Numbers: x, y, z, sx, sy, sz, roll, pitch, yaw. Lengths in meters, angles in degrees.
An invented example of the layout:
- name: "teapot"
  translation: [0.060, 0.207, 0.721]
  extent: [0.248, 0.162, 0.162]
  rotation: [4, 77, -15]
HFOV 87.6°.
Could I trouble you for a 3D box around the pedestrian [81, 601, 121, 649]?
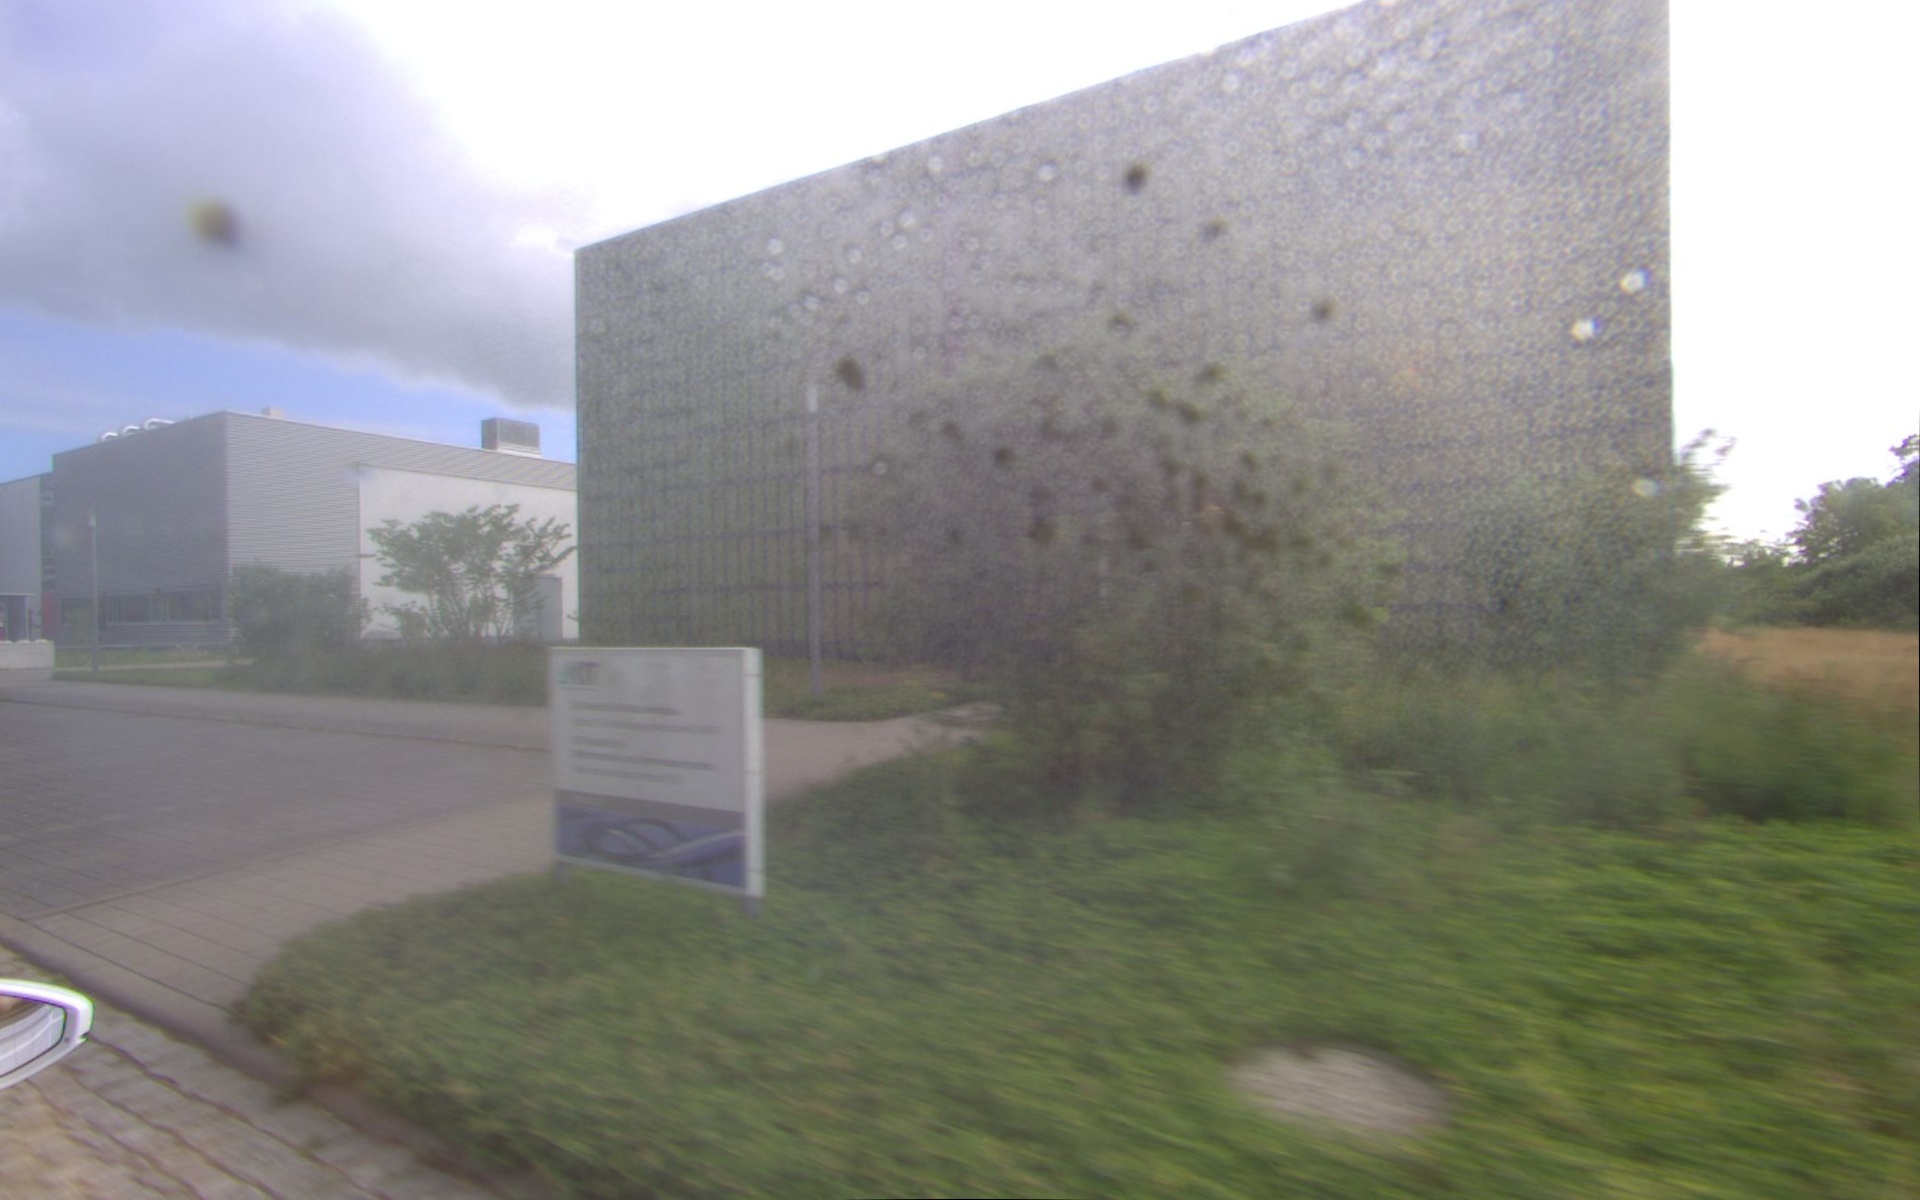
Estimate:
- name: "pedestrian"
  translation: [-35.085, 1.023, 40.896]
  extent: [0.838, 1.962, 0.920]
  rotation: [0, 0, 2]
